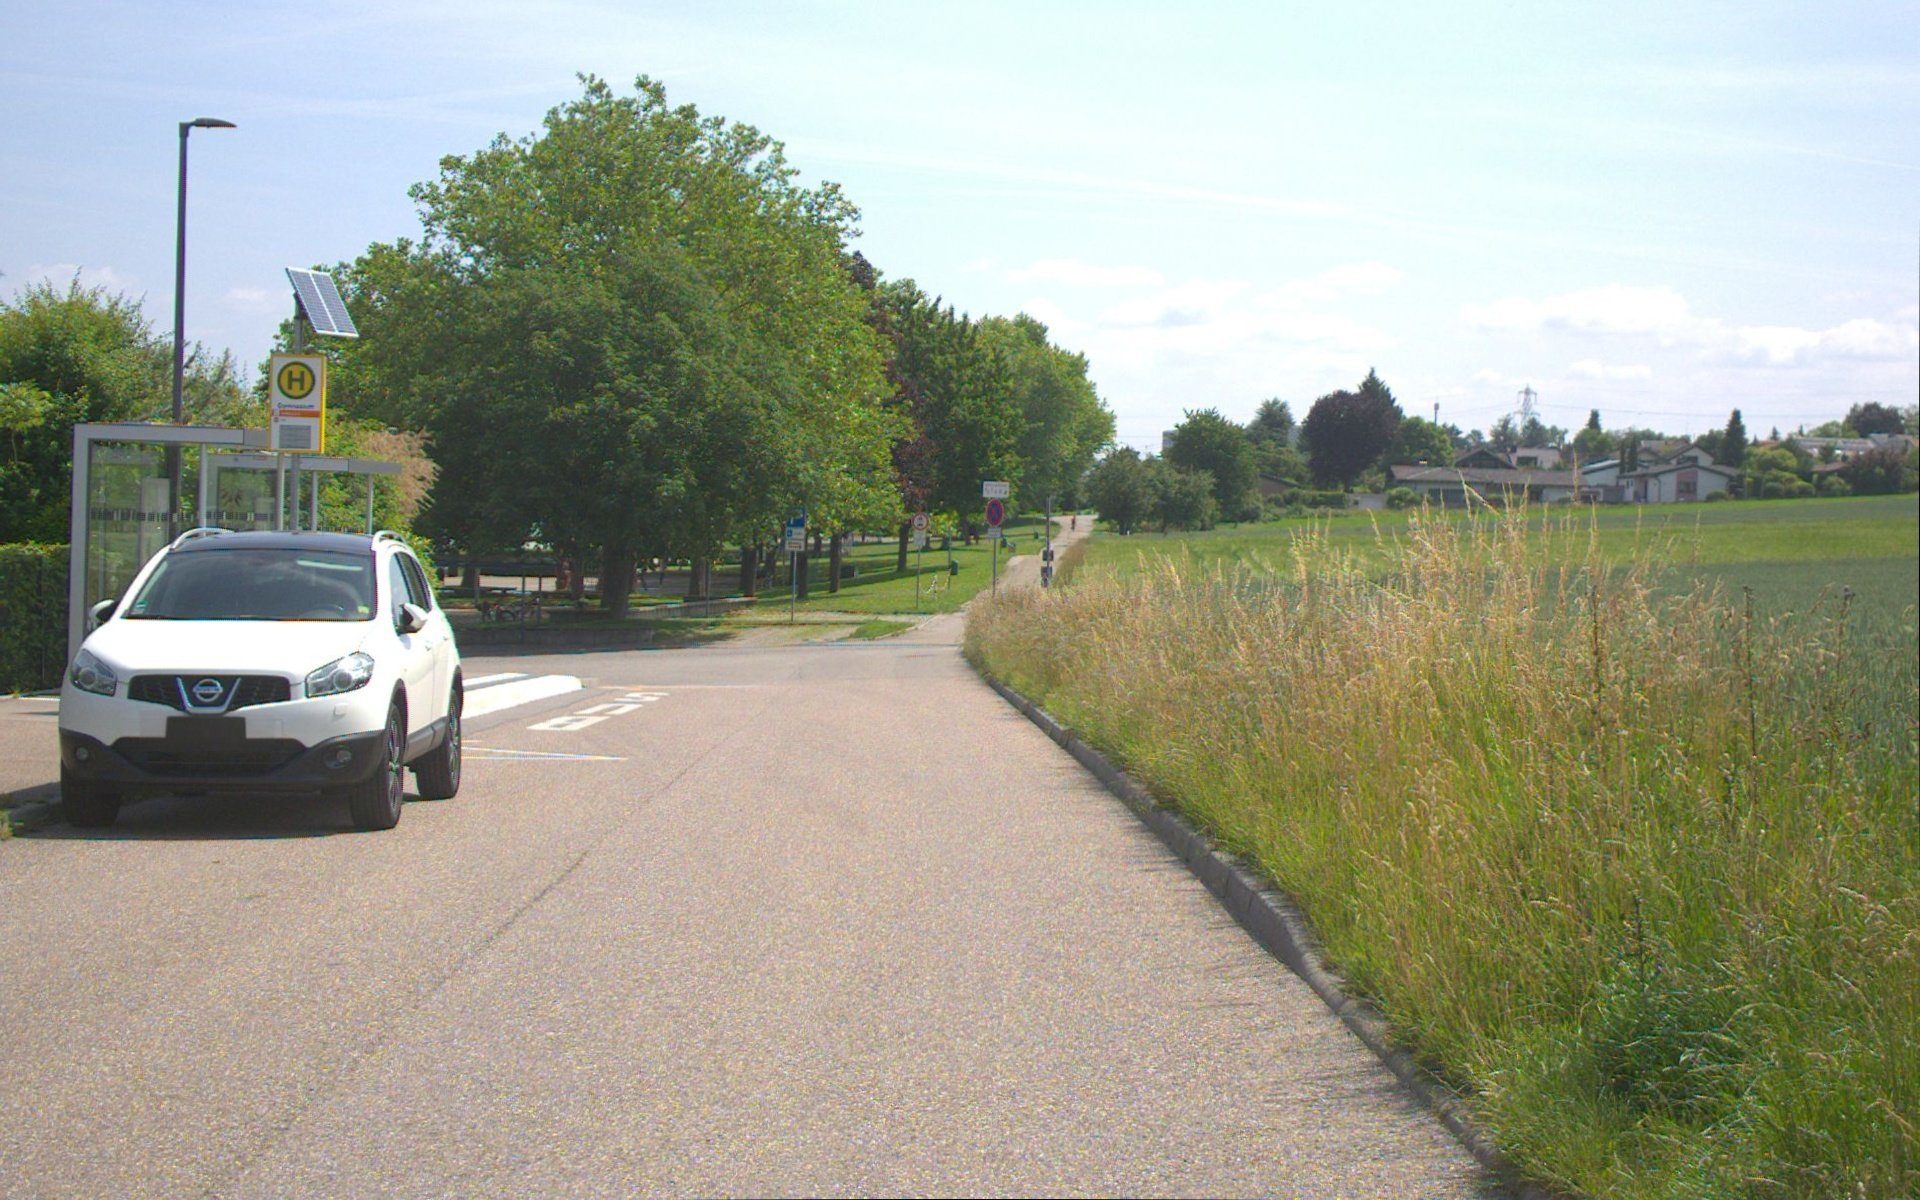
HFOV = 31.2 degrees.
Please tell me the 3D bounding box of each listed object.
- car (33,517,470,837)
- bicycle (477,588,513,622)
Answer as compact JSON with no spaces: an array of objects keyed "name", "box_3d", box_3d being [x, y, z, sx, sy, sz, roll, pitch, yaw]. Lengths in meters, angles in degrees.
[{"name":"car","box_3d":[-3.953,0.383,19.853,1.734,1.628,4.353,1,0,-2]},{"name":"bicycle","box_3d":[-15.059,0.153,111.398,0.595,1.035,1.892,-1,1,10]}]
